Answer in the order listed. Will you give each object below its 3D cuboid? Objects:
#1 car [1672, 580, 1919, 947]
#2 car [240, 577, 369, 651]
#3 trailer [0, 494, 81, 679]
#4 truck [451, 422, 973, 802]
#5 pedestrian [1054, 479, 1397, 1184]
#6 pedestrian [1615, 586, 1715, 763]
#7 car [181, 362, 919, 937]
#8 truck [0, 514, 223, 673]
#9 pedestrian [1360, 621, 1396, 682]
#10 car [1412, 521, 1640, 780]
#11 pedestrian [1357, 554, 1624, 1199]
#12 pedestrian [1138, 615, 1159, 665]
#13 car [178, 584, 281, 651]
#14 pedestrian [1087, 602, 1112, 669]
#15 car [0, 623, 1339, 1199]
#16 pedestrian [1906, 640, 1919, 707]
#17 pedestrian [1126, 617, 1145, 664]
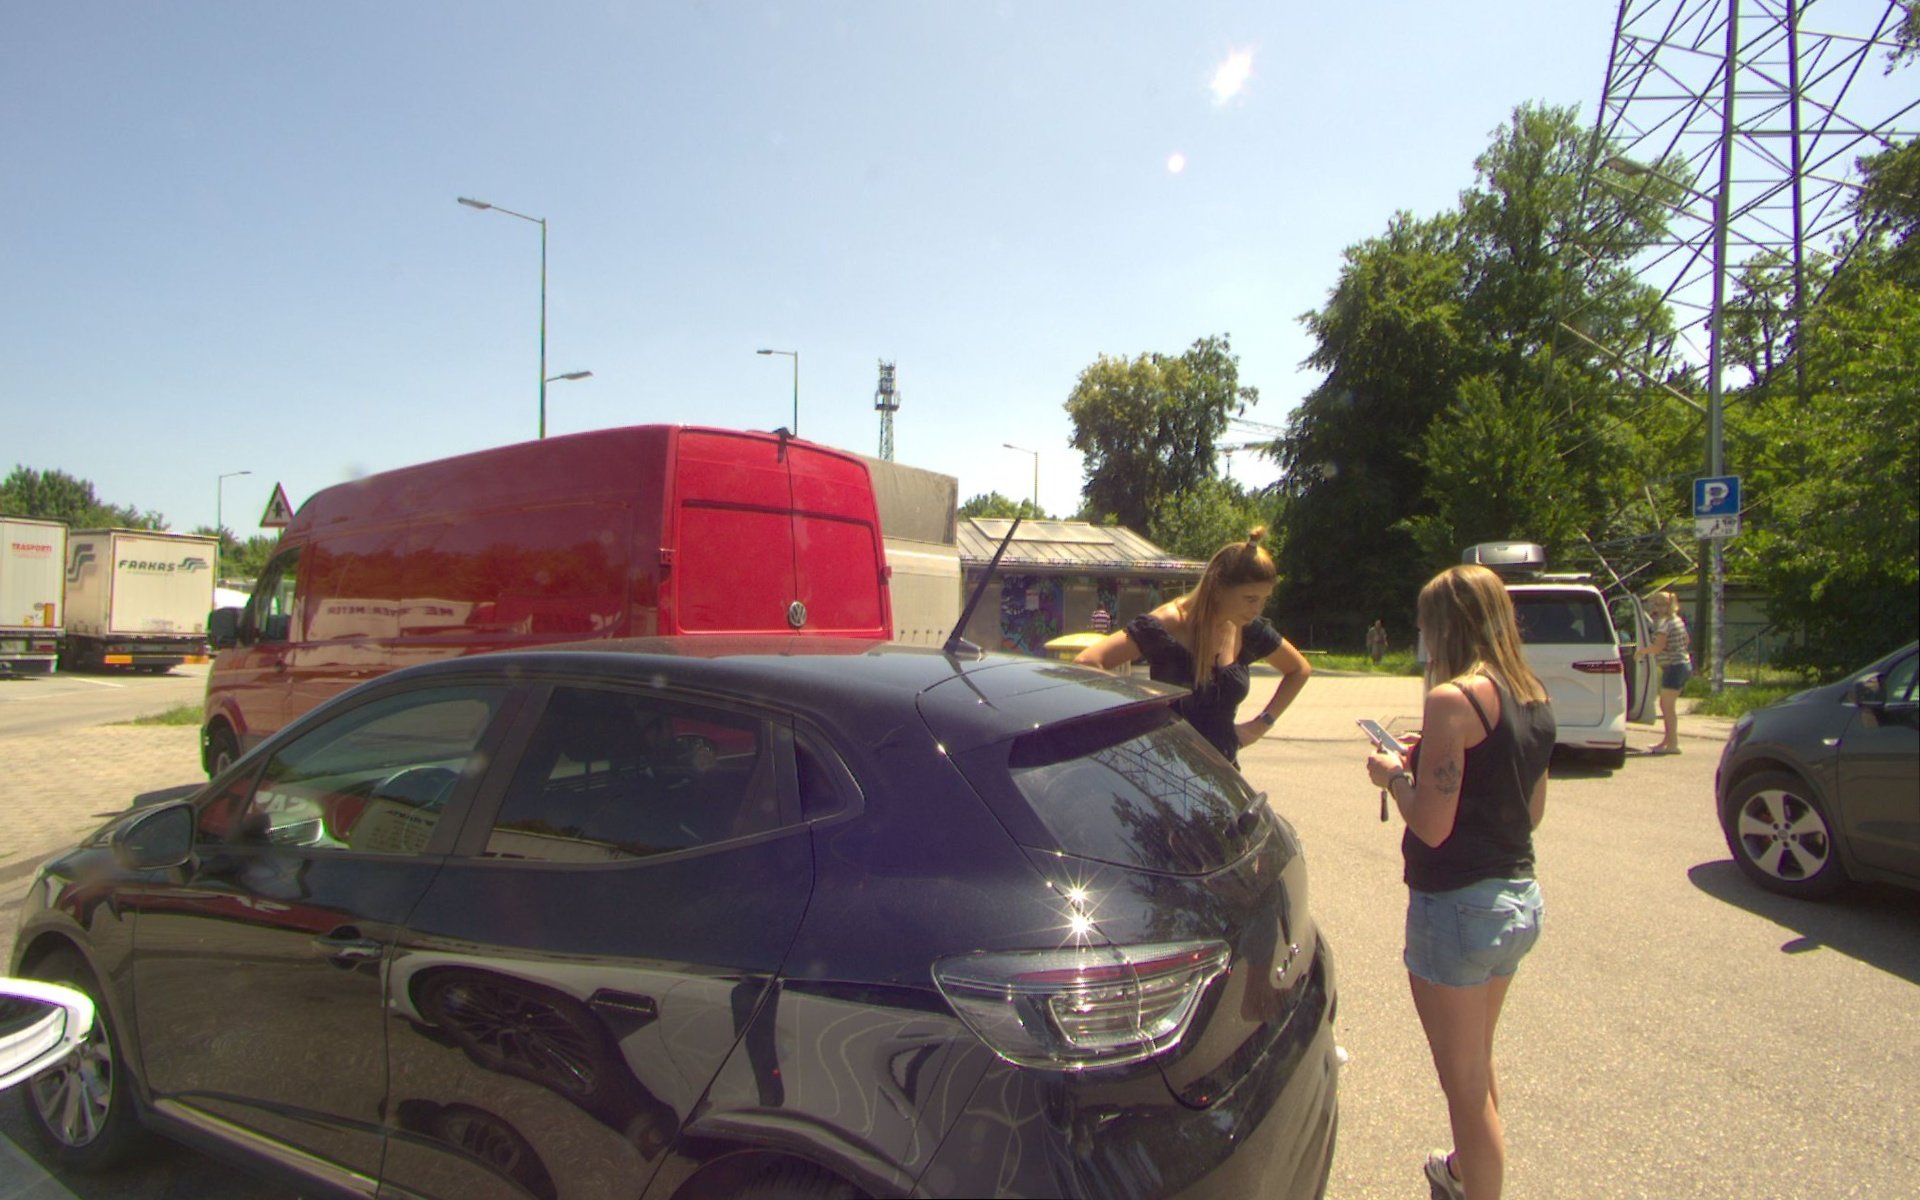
[{"bbox_3d":[5.159,0.732,4.030,1.803,1.638,4.168,1,-1,4],"label":"car"},{"bbox_3d":[-29.456,0.612,44.931,6.259,3.114,2.495,0,-1,32],"label":"car"},{"bbox_3d":[-28.611,-0.335,27.867,12.642,4.510,2.677,0,-1,32],"label":"trailer"},{"bbox_3d":[-2.533,0.179,9.934,4.751,2.863,2.514,-1,-2,34],"label":"truck"},{"bbox_3d":[0.809,0.631,3.080,0.898,1.884,0.486,1,0,-23],"label":"pedestrian"},{"bbox_3d":[7.971,0.824,11.366,0.828,1.903,0.773,-1,-1,30],"label":"pedestrian"},{"bbox_3d":[-3.388,0.255,7.326,6.298,2.668,1.988,0,-1,36],"label":"car"},{"bbox_3d":[-27.097,-0.018,31.191,11.800,4.279,2.582,-1,-2,32],"label":"truck"},{"bbox_3d":[14.247,1.757,34.132,0.955,2.039,0.829,0,-1,10],"label":"pedestrian"},{"bbox_3d":[6.661,0.531,11.910,1.901,2.401,4.954,1,-1,29],"label":"car"},{"bbox_3d":[1.200,0.723,2.292,0.478,1.614,0.501,0,0,29],"label":"pedestrian"},{"bbox_3d":[5.616,1.186,29.831,0.521,1.478,0.576,0,0,23],"label":"pedestrian"},{"bbox_3d":[-29.928,0.764,41.014,3.943,2.632,2.111,-1,-2,32],"label":"car"},{"bbox_3d":[3.758,0.950,27.000,0.520,1.783,0.651,0,0,23],"label":"pedestrian"},{"bbox_3d":[-0.952,0.829,2.870,3.629,1.476,1.776,-1,-2,28],"label":"car"},{"bbox_3d":[17.113,1.284,17.410,0.694,1.178,0.787,-1,-1,22],"label":"pedestrian"},{"bbox_3d":[5.141,1.171,29.328,0.439,1.362,0.477,0,0,23],"label":"pedestrian"}]
